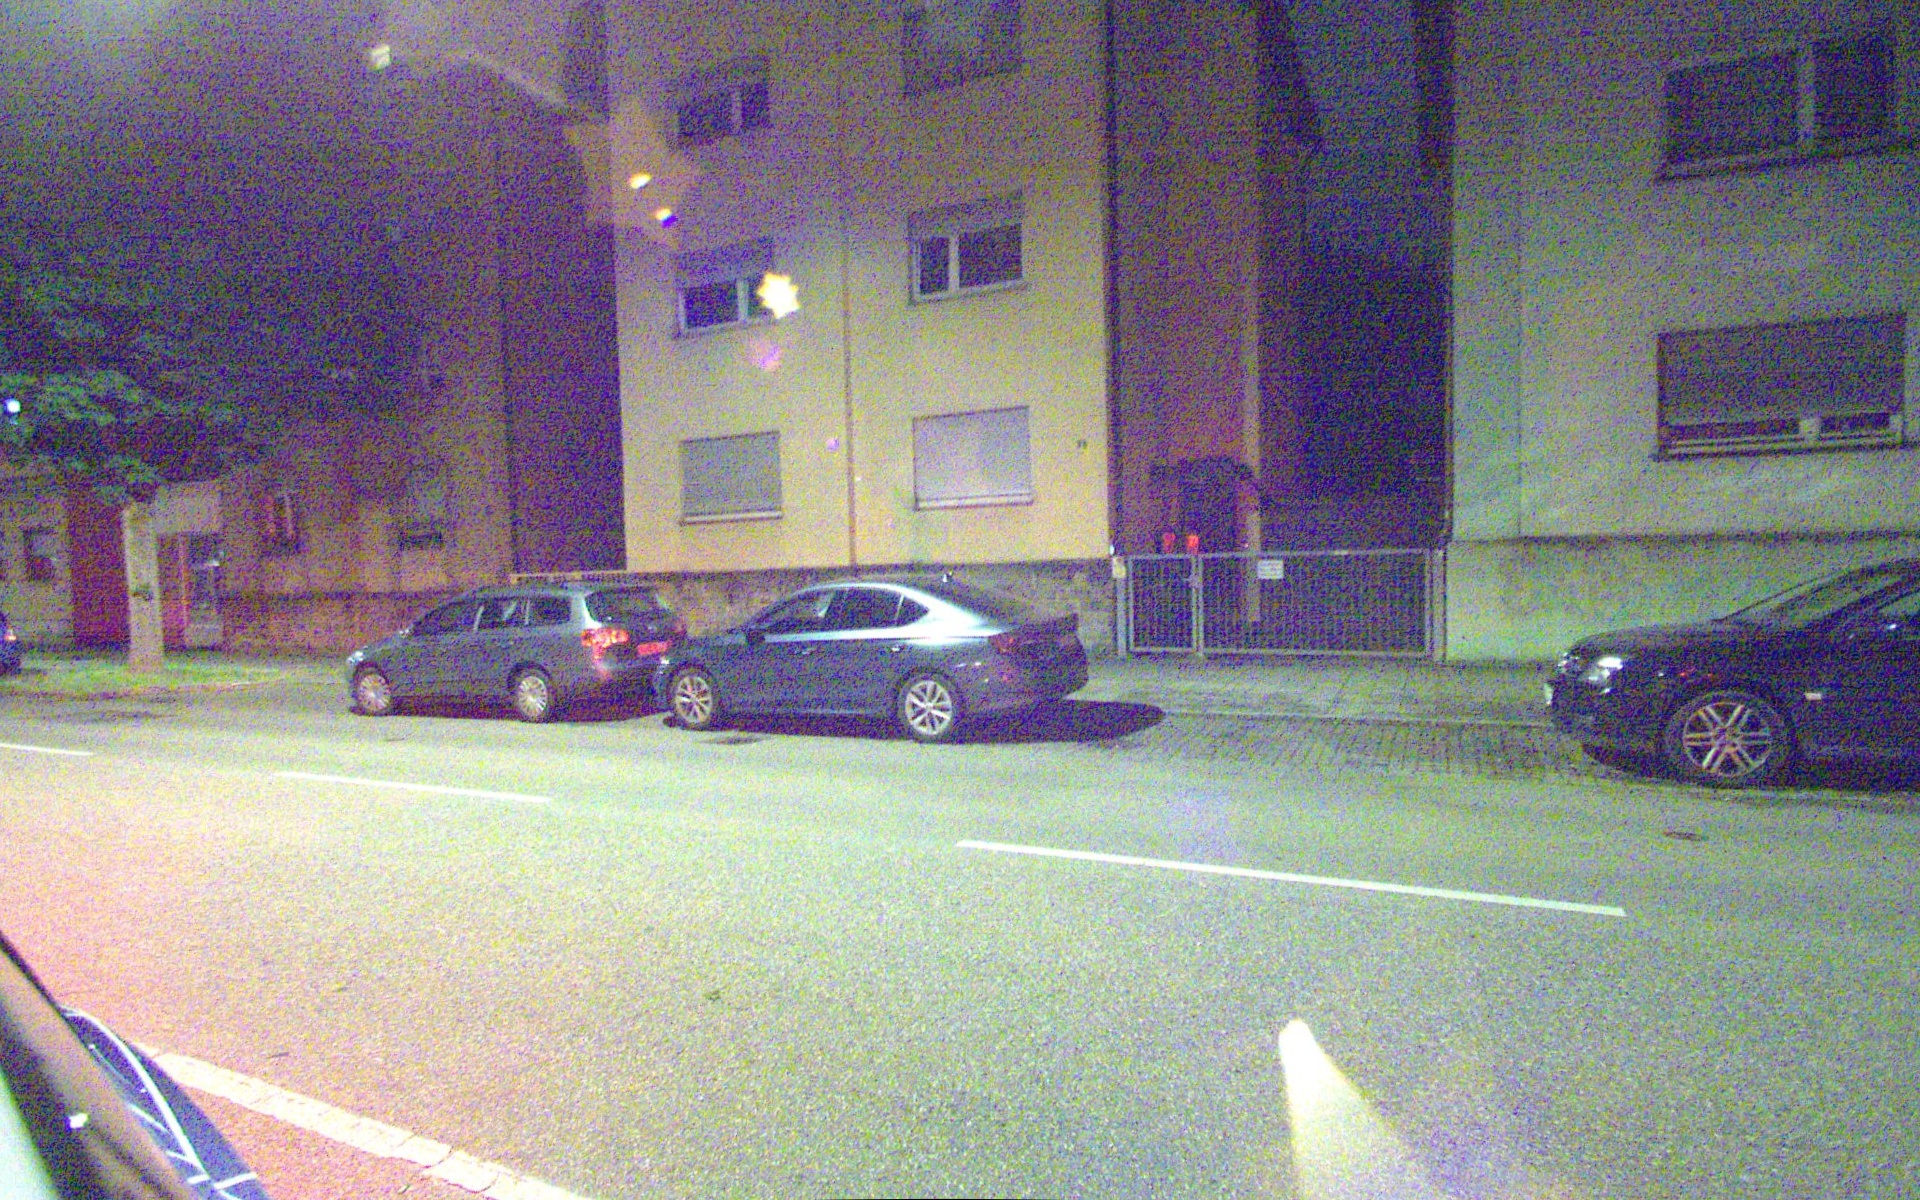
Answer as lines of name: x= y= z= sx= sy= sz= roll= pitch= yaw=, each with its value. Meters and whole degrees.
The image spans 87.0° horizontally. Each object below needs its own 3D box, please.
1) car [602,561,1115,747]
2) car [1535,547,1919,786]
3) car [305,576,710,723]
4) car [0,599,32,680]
car: x=-1.068 y=0.443 z=9.994 sx=4.837 sy=1.497 sz=1.759 roll=-1 pitch=1 yaw=26
car: x=6.320 y=0.361 z=6.455 sx=4.424 sy=1.393 sz=1.615 roll=-1 pitch=1 yaw=24
car: x=-5.479 y=0.520 z=12.167 sx=4.739 sy=1.497 sz=1.759 roll=-1 pitch=1 yaw=25
car: x=-20.038 y=0.799 z=19.575 sx=3.968 sy=1.505 sz=1.705 roll=-1 pitch=2 yaw=26
